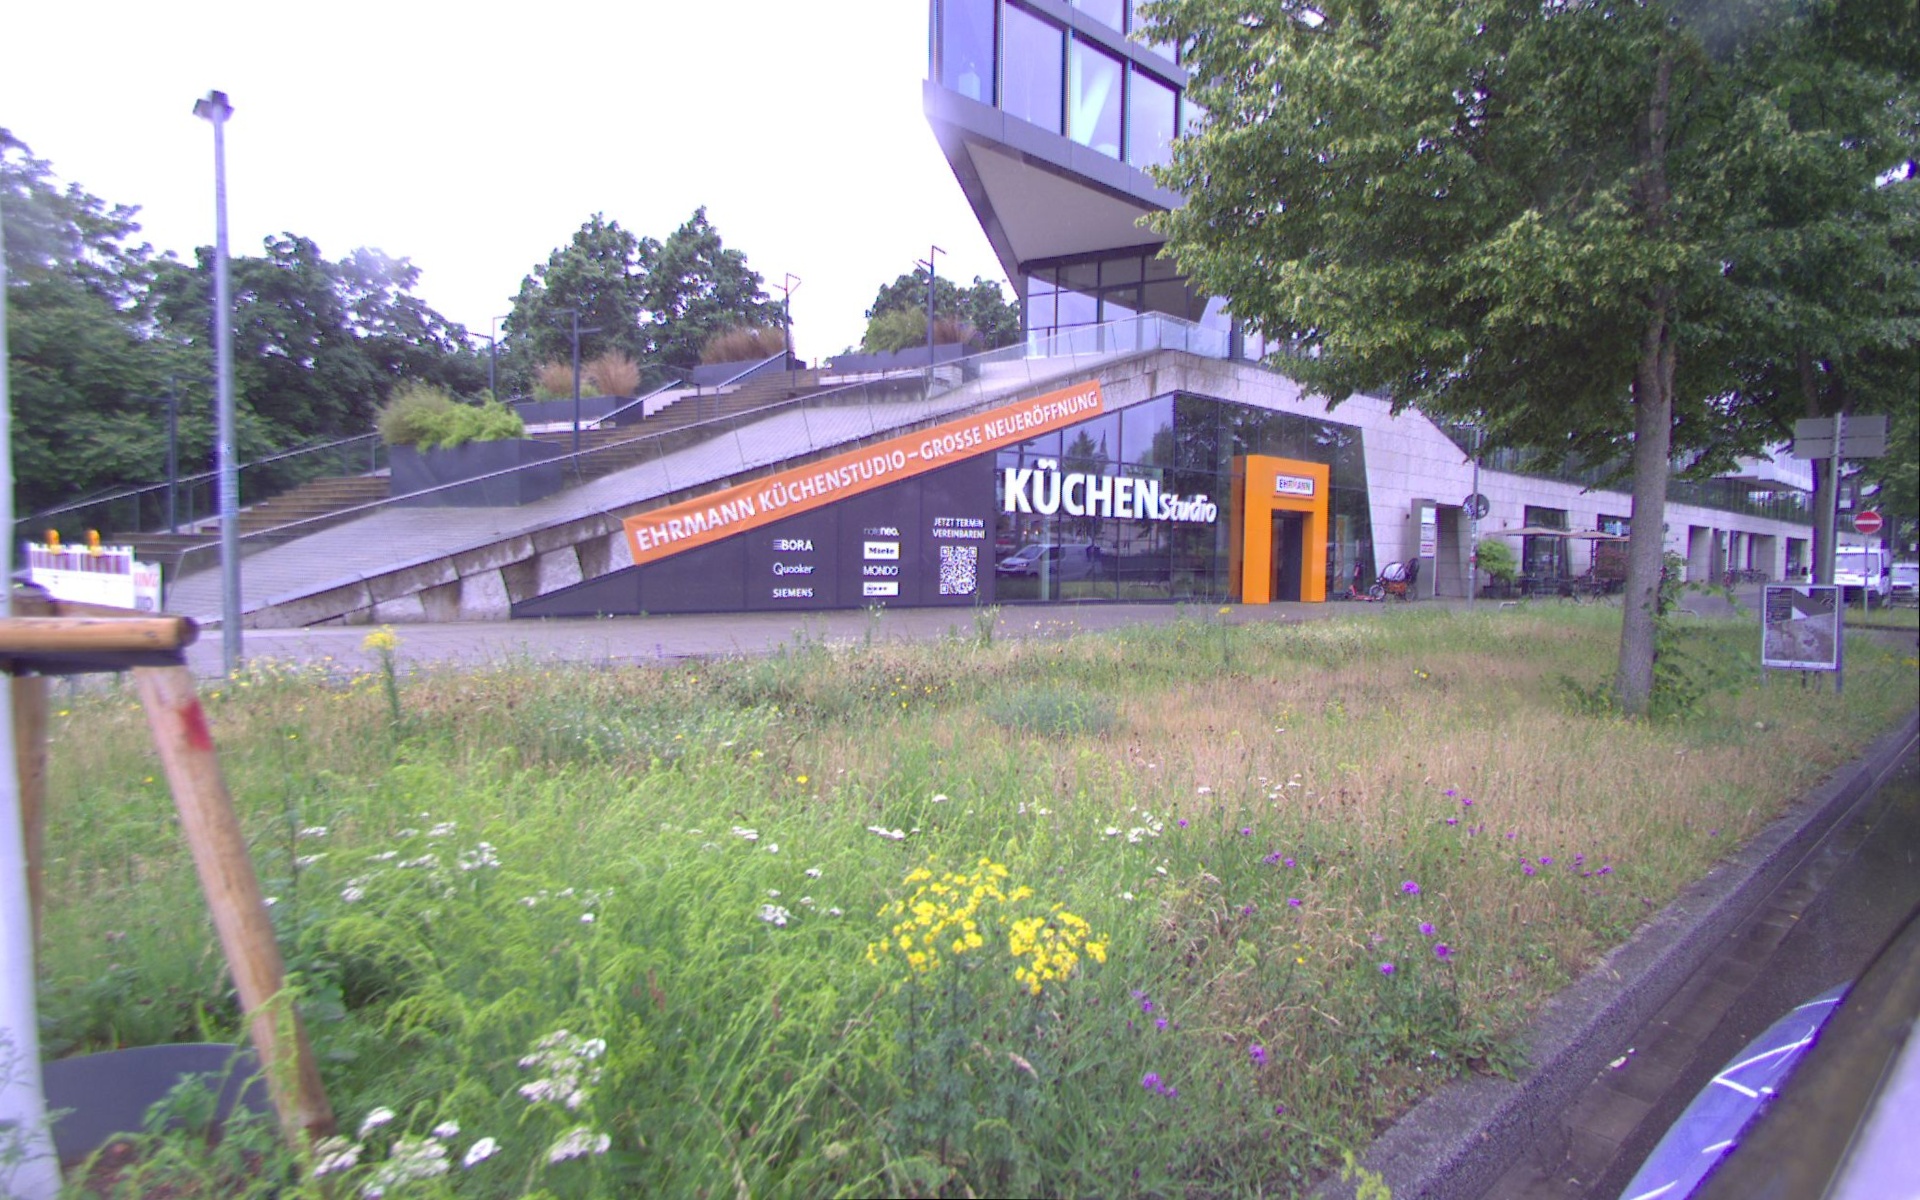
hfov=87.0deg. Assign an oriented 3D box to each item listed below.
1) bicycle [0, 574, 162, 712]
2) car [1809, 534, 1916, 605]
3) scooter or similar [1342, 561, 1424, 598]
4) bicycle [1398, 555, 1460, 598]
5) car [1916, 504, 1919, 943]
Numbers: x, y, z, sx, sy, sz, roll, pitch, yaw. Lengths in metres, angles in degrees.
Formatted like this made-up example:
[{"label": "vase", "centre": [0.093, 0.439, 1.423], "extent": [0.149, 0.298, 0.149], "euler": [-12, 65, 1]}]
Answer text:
[{"label": "bicycle", "centre": [-6.458, 0.270, 6.435], "extent": [2.128, 0.857, 0.635], "euler": [-1, 2, -44]}, {"label": "car", "centre": [30.650, -1.015, 34.333], "extent": [5.009, 2.229, 2.083], "euler": [-2, 1, -41]}, {"label": "scooter or similar", "centre": [13.328, -0.661, 31.853], "extent": [2.560, 1.113, 0.814], "euler": [-1, 1, -23]}, {"label": "bicycle", "centre": [15.647, -0.790, 33.734], "extent": [2.650, 1.364, 0.882], "euler": [-2, 1, -41]}, {"label": "car", "centre": [6.103, 0.508, 4.762], "extent": [4.306, 1.769, 1.915], "euler": [0, 0, -41]}]
